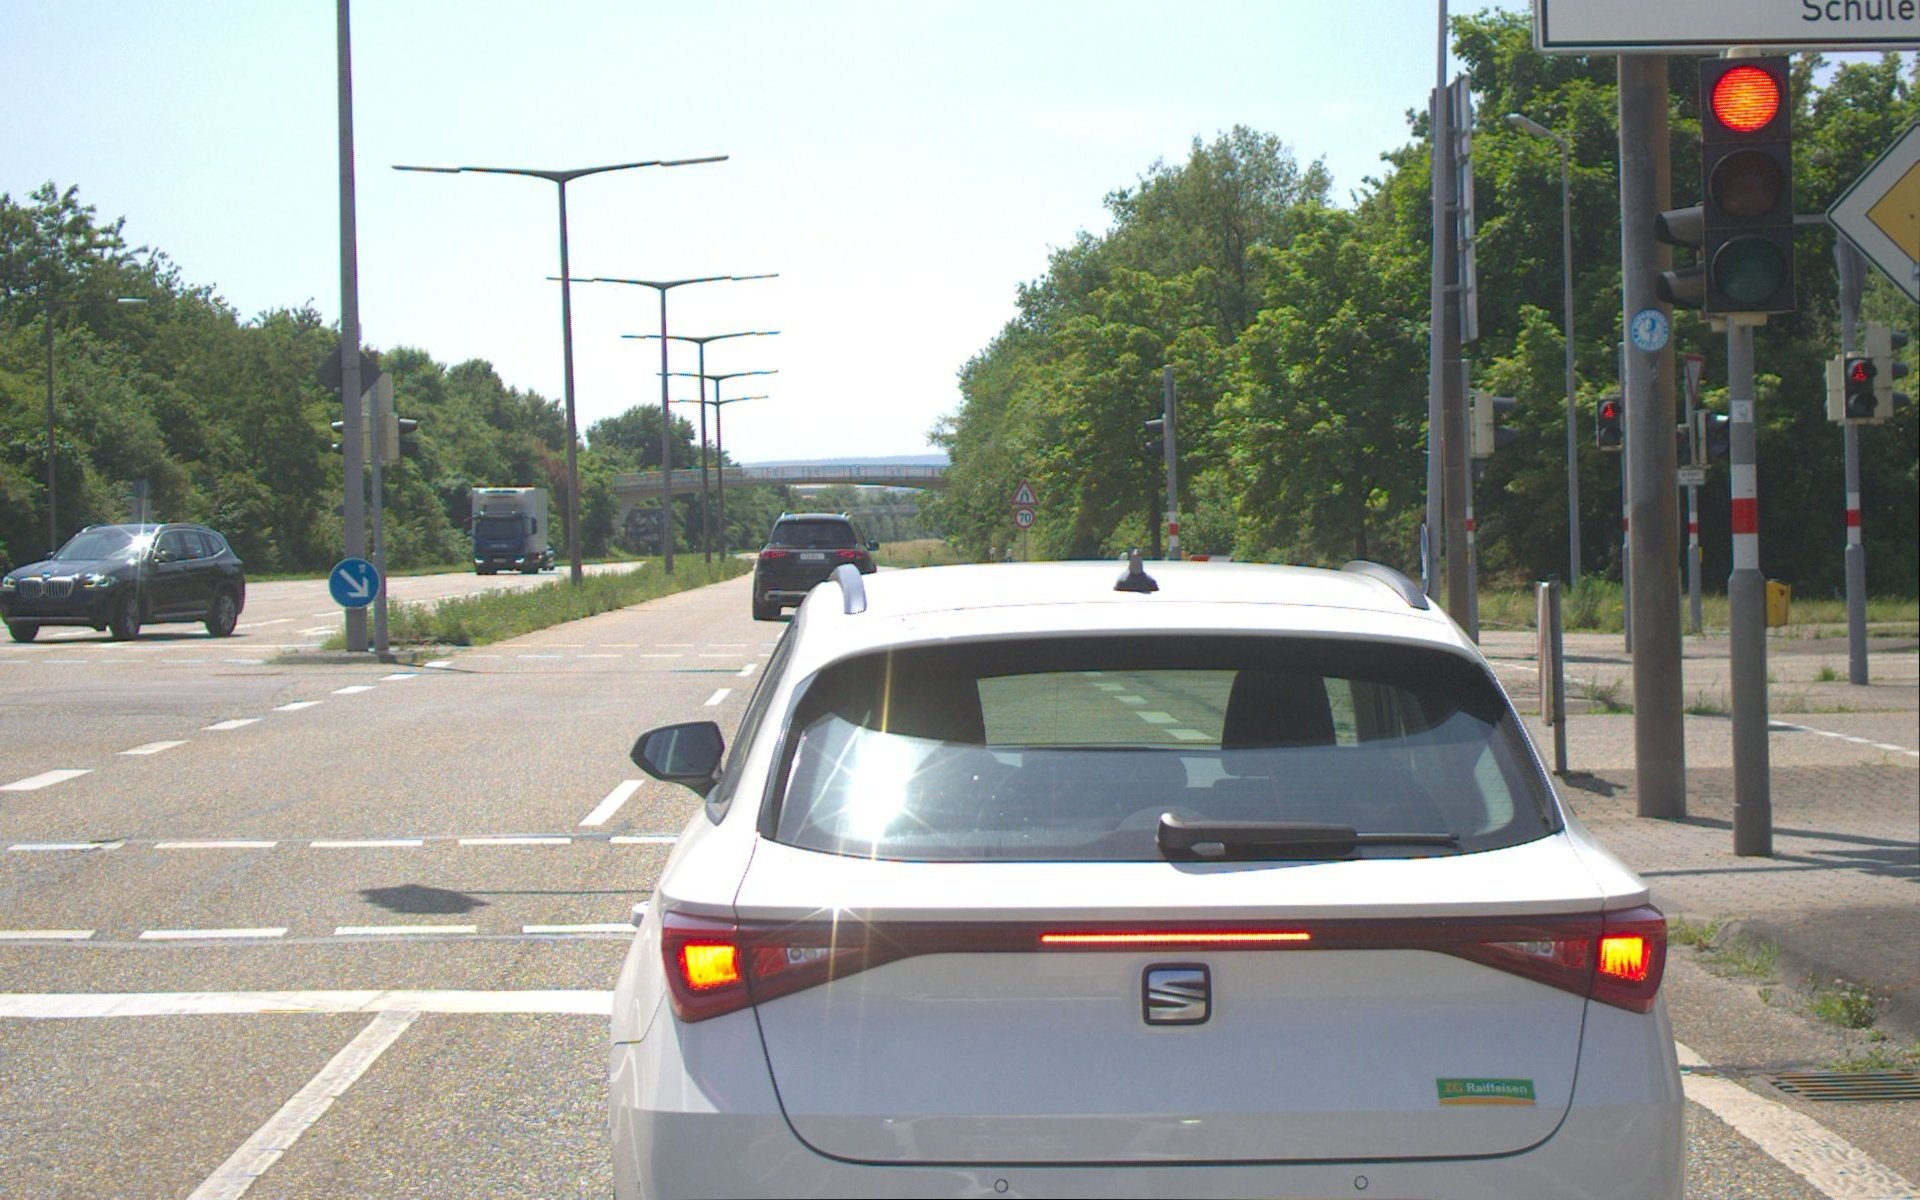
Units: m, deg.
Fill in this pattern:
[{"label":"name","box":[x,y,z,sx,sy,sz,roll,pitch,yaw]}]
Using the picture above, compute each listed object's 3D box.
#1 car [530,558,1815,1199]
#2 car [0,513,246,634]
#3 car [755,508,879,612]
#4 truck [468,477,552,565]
[{"label":"car","box":[0.265,0.648,6.515,1.734,1.423,3.695,1,1,-1]},{"label":"car","box":[-12.198,-0.420,50.261,1.708,1.657,4.220,-1,1,15]},{"label":"car","box":[-2.426,-0.715,59.269,1.855,1.703,4.000,-1,1,1]},{"label":"truck","box":[-18.712,-3.309,143.349,2.687,3.558,7.268,0,1,-1]}]
